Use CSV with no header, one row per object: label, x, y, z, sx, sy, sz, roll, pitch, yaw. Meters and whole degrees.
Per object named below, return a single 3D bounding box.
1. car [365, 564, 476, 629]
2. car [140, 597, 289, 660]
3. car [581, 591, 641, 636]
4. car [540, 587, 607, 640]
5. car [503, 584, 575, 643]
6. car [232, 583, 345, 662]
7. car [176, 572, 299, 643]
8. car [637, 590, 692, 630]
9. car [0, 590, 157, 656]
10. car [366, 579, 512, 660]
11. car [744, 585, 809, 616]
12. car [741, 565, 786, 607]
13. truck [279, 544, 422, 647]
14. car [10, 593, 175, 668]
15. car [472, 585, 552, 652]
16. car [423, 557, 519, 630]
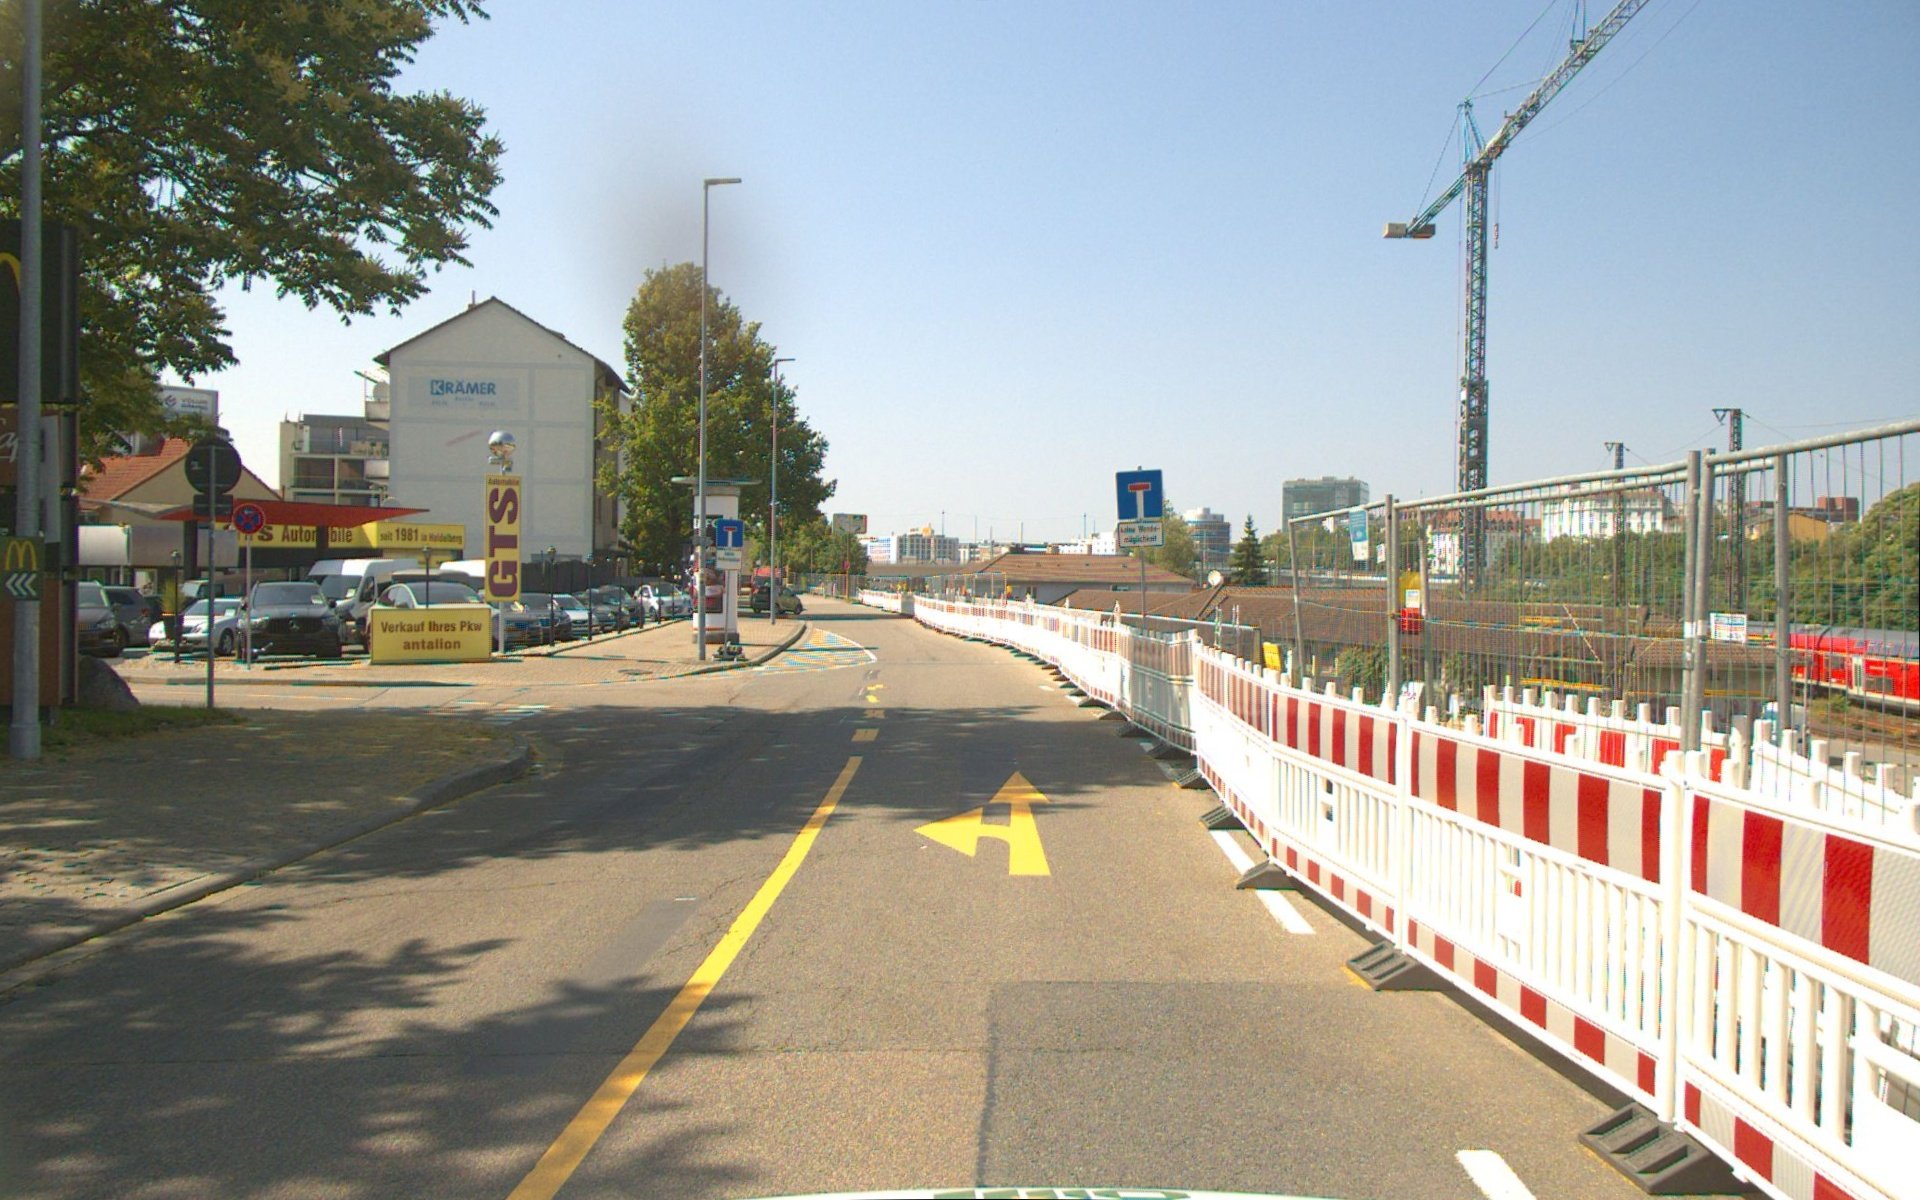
car,-15.960,-0.094,49.165,1.839,1.768,4.720,2,0,-2
car,-19.177,0.715,42.746,1.750,1.513,4.002,1,-1,5
car,-13.305,0.493,62.939,1.827,1.657,3.980,1,0,-18
car,-12.706,0.426,54.203,1.827,1.657,3.980,1,0,-18
car,-12.416,0.381,48.612,1.827,1.657,3.980,1,0,-18
car,-14.797,0.480,36.316,2.021,1.622,4.387,1,-1,-26
car,-22.105,0.234,50.797,1.954,2.049,4.493,1,-1,-3
car,-12.696,0.400,70.935,1.827,1.657,3.980,1,0,-18
car,-23.151,0.593,42.326,4.296,1.613,1.970,2,-1,-41
car,-12.046,0.440,38.110,1.979,1.756,3.947,2,-1,-37
car,-10.207,0.051,92.071,3.256,1.666,1.698,2,-1,-45
car,-12.541,-0.874,105.909,2.487,2.564,5.115,1,-1,-3
truck,-18.880,-0.129,51.579,2.222,2.954,5.942,2,0,0
car,-19.226,0.659,36.852,1.753,1.536,3.996,1,-1,-4
car,-11.702,0.451,43.070,1.827,1.657,3.980,1,0,-18
car,-16.244,-0.214,55.200,2.094,2.324,4.706,1,0,-5
